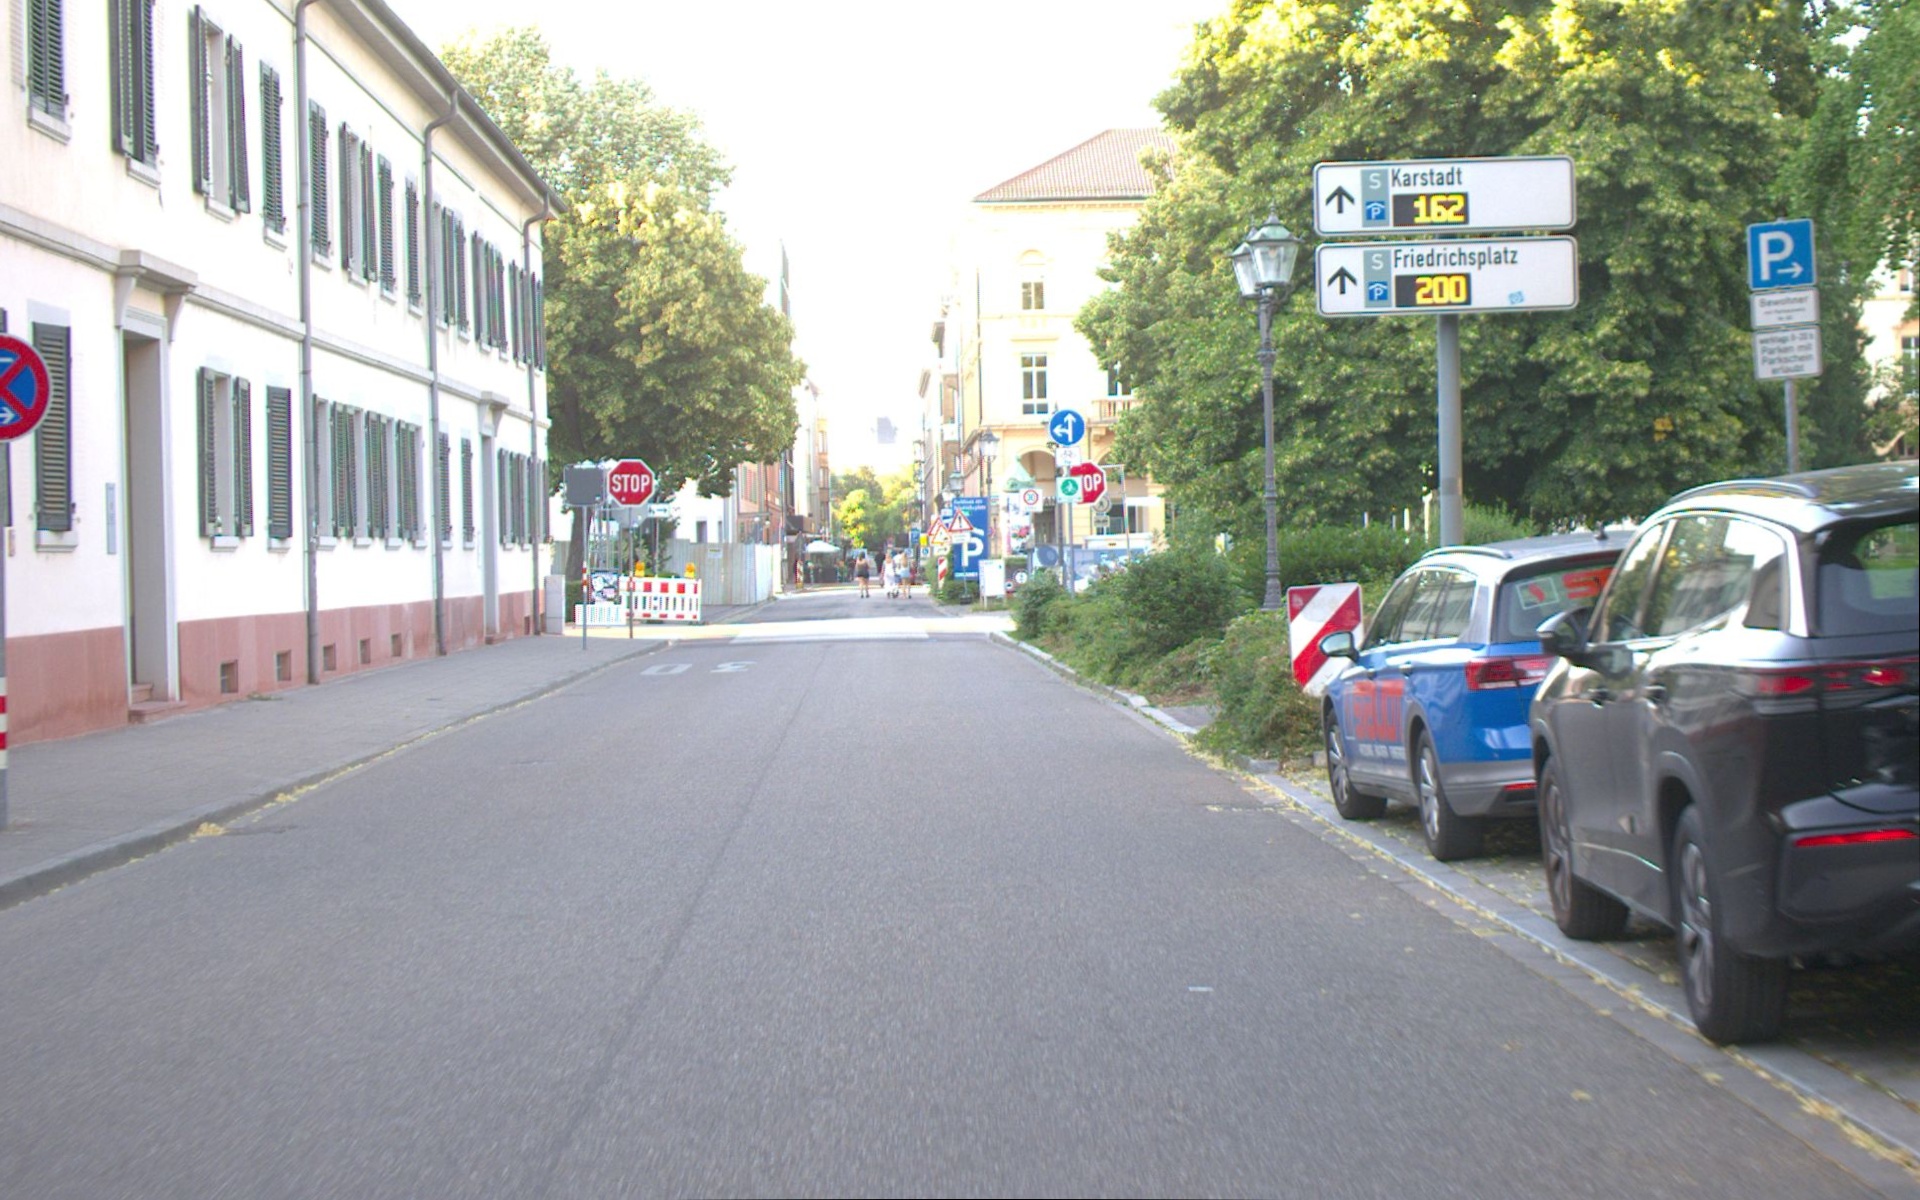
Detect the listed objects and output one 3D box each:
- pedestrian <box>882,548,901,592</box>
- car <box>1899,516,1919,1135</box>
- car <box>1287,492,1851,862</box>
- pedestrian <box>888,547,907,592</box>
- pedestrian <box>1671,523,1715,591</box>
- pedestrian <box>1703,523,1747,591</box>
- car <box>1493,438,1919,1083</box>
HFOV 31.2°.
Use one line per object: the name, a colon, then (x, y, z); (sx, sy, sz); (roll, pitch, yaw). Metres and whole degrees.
pedestrian: (-2.520, -1.113, 126.464); (0.657, 1.611, 0.745); (-2, 1, -1)
car: (3.043, 0.560, 5.604); (1.724, 1.533, 4.190); (-2, 0, -2)
car: (2.903, 0.306, 17.434); (1.724, 1.483, 4.611); (-5, 1, -3)
pedestrian: (-2.334, -1.136, 128.075); (0.657, 1.630, 0.745); (-2, 1, -1)
pedestrian: (14.662, -0.858, 68.765); (0.596, 1.337, 0.818); (-2, 1, -7)
pedestrian: (15.318, -0.858, 68.816); (0.596, 1.337, 0.818); (-2, 1, -7)
car: (2.923, 0.378, 11.190); (1.724, 1.646, 4.713); (-2, 0, 2)
